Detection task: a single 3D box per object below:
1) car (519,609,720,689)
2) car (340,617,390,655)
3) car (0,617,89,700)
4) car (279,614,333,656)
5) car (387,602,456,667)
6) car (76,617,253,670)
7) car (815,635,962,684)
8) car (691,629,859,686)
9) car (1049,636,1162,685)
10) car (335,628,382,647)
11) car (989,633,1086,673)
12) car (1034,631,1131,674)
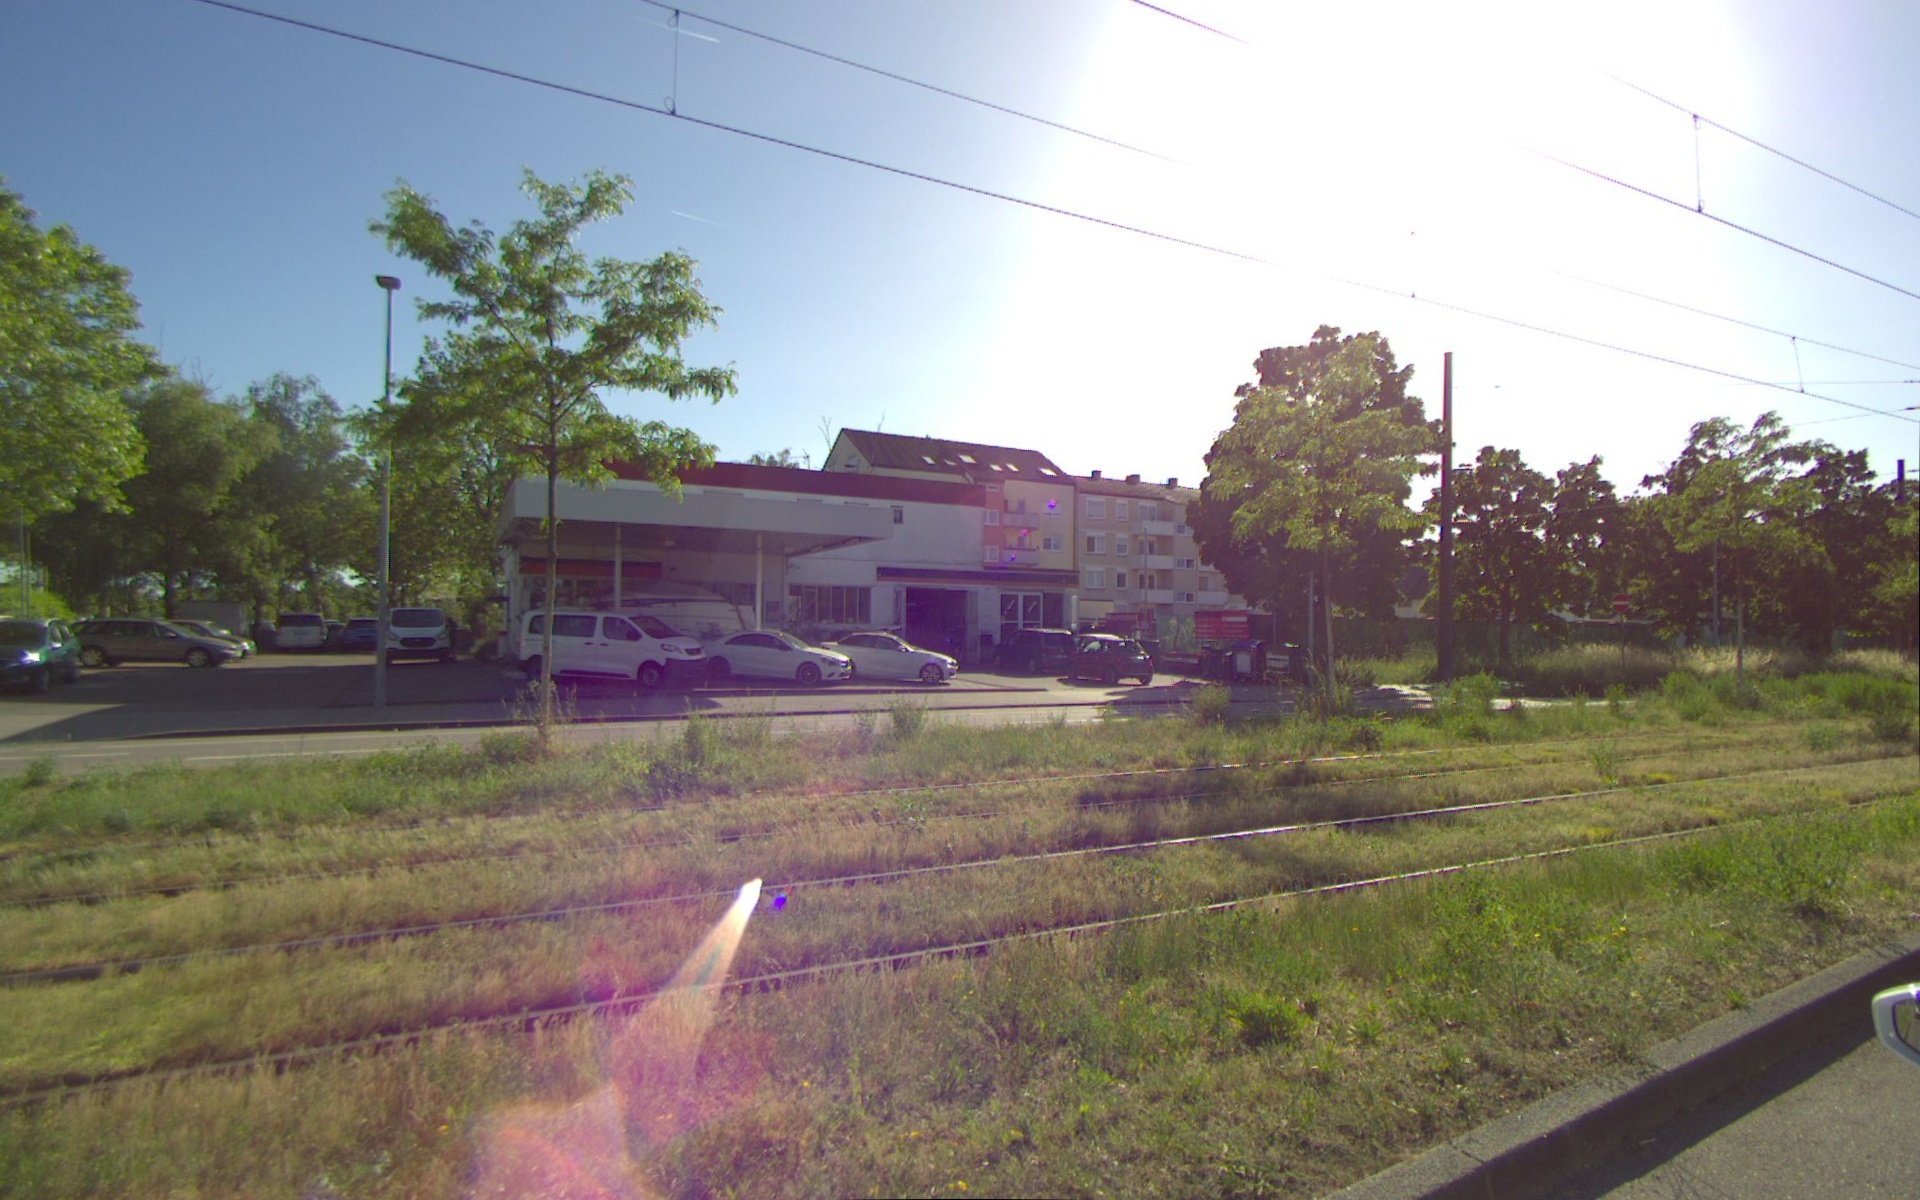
[{"bbox_3d":[-8.956,1.275,26.572,4.689,2.000,1.862,0,-2,10],"label":"car"},{"bbox_3d":[-27.425,1.640,46.347,1.885,1.652,4.056,1,-2,-30],"label":"car"},{"bbox_3d":[-21.588,1.292,23.065,1.712,1.545,3.942,5,-1,-32],"label":"car"},{"bbox_3d":[-30.807,1.614,47.408,1.885,1.884,4.056,1,-2,-30],"label":"car"},{"bbox_3d":[-18.867,1.204,35.178,1.996,2.119,4.701,1,-2,-29],"label":"car"},{"bbox_3d":[-24.748,1.362,31.439,4.033,1.565,1.573,1,-1,-25],"label":"car"},{"bbox_3d":[-2.160,1.820,31.156,4.382,1.490,1.793,0,-2,2],"label":"car"},{"bbox_3d":[-5.255,1.618,28.797,4.380,1.548,1.793,0,-2,10],"label":"car"},{"bbox_3d":[4.954,2.034,34.710,1.771,1.589,4.052,1,-2,-30],"label":"car"},{"bbox_3d":[-50.101,3.142,83.805,1.955,1.569,4.422,1,-2,-12],"label":"car"},{"bbox_3d":[2.910,2.008,38.680,1.771,1.463,4.052,1,-2,-30],"label":"car"},{"bbox_3d":[4.805,2.051,39.822,1.771,1.589,4.052,1,-2,-30],"label":"car"}]
